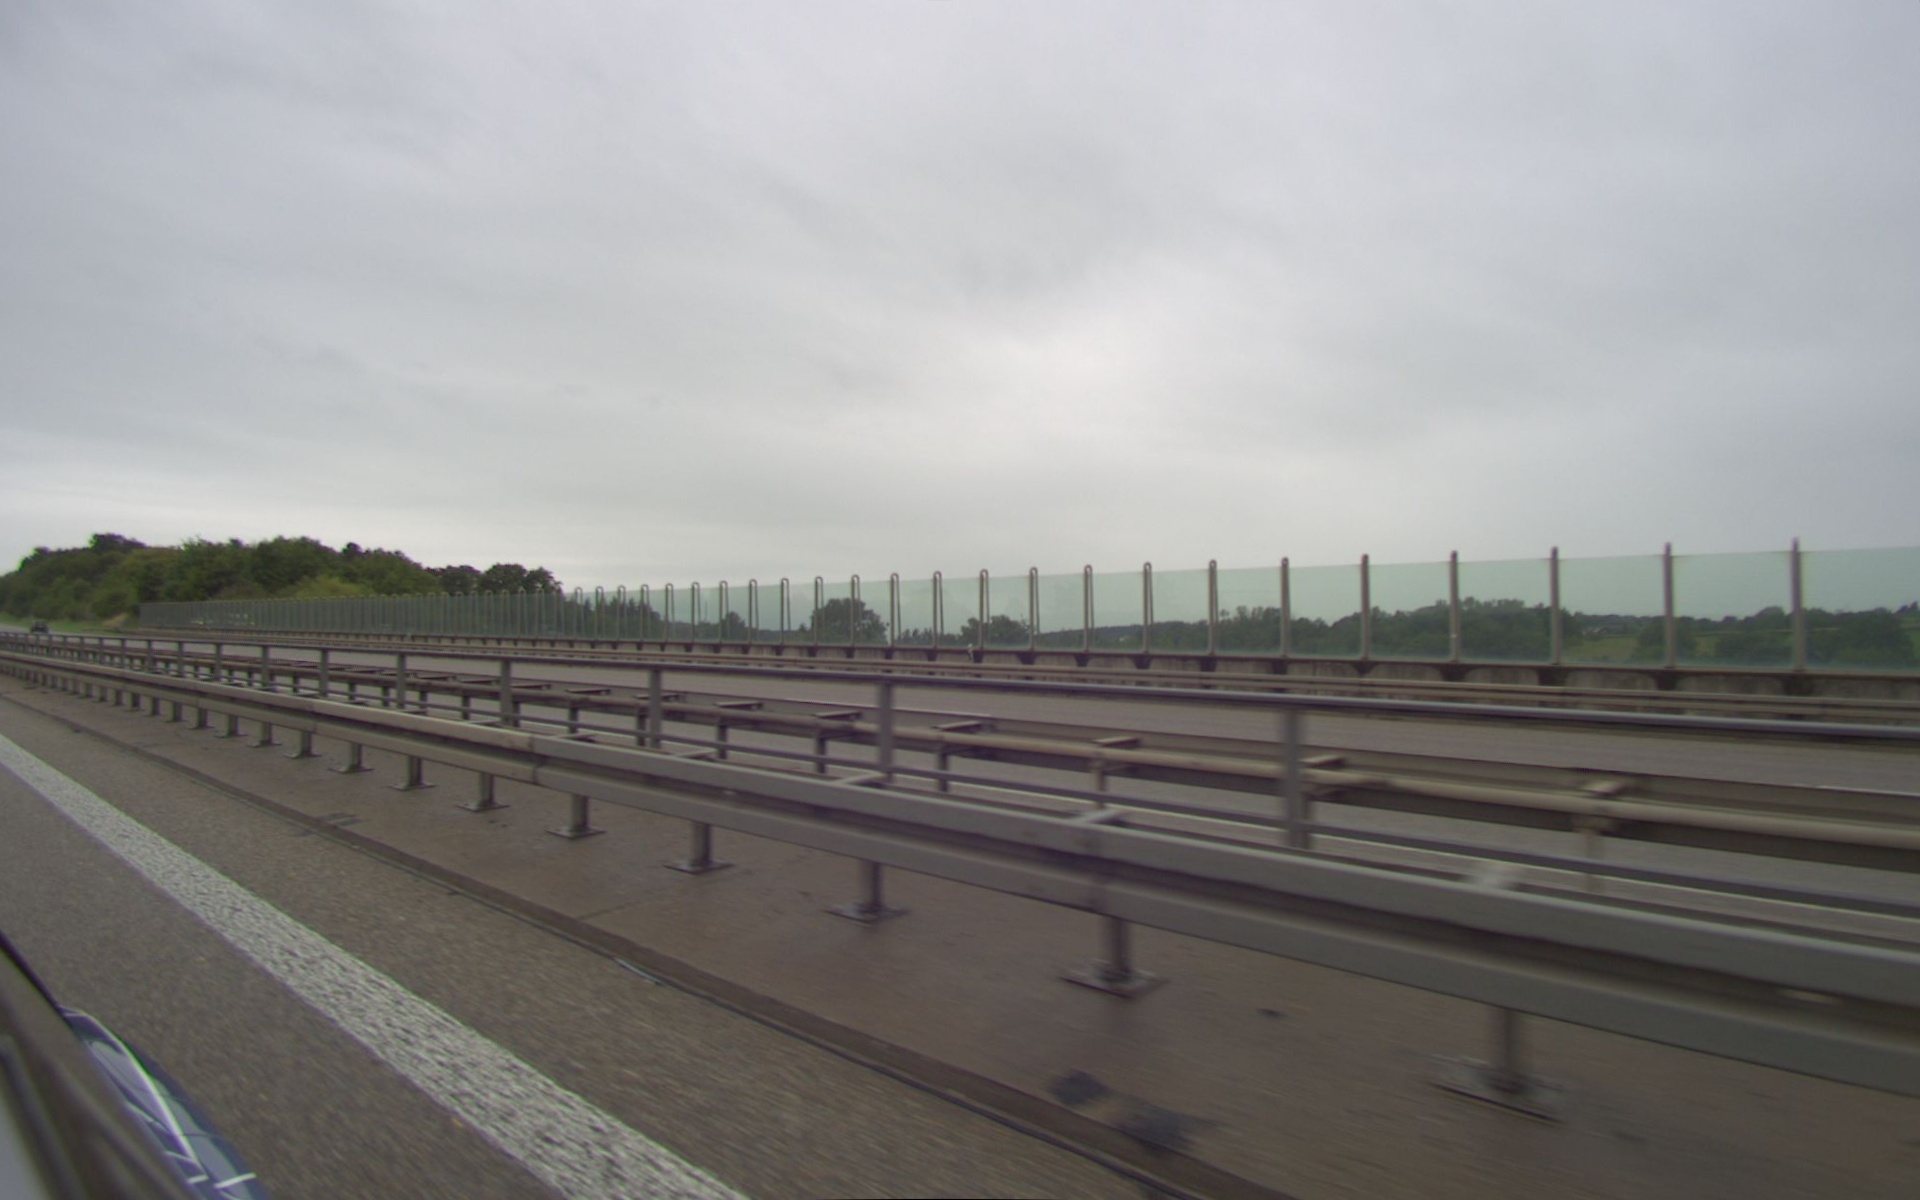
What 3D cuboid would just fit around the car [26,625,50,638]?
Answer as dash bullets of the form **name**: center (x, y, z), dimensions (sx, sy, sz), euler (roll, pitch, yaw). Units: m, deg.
- **car**: center (-108.466, 3.700, 119.051), dimensions (3.858, 1.508, 1.666), euler (-1, -2, 41)
